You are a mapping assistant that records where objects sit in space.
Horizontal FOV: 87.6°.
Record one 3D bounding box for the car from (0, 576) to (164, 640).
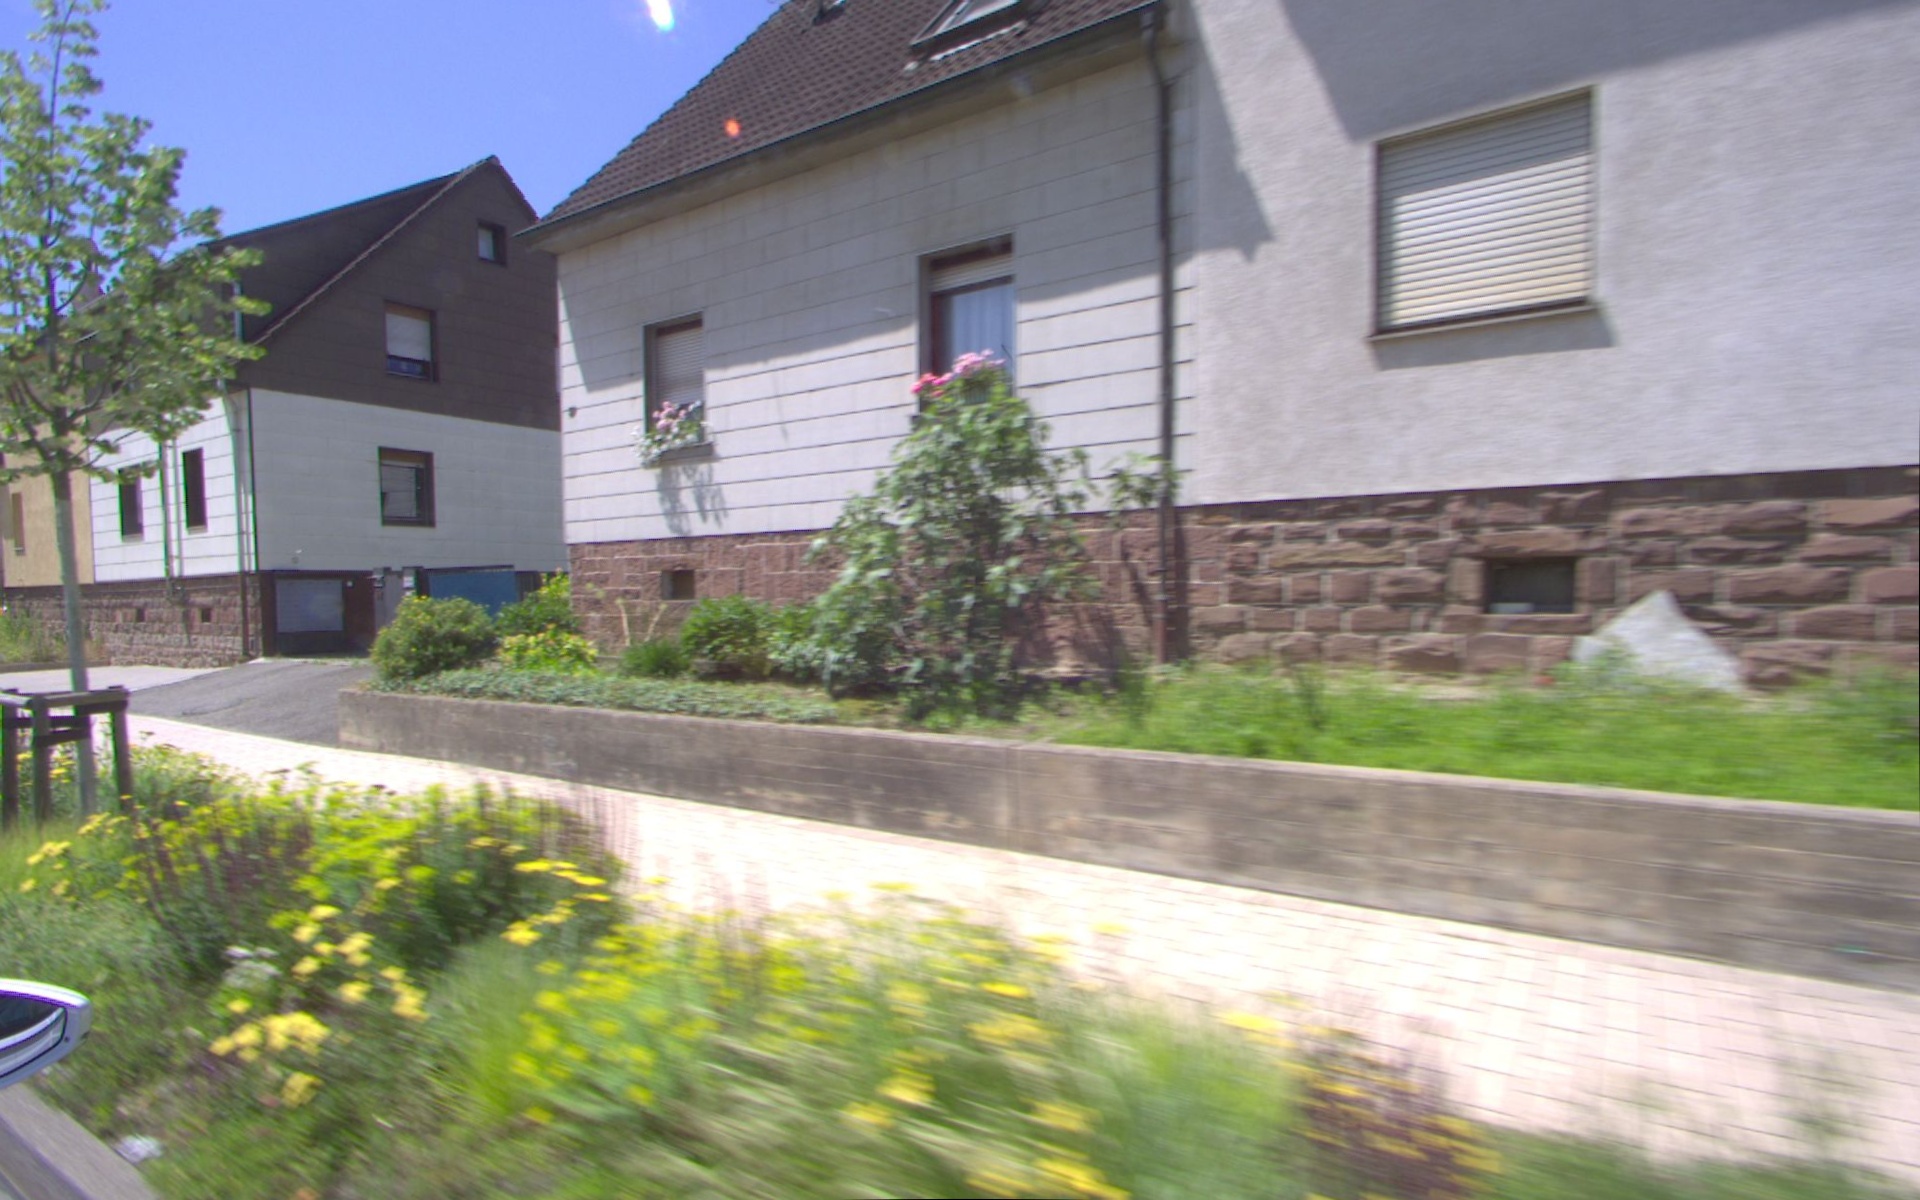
[{"bbox_3d":[-27.511,0.212,31.028,1.848,1.700,3.975,0,3,33],"label":"car"}]
